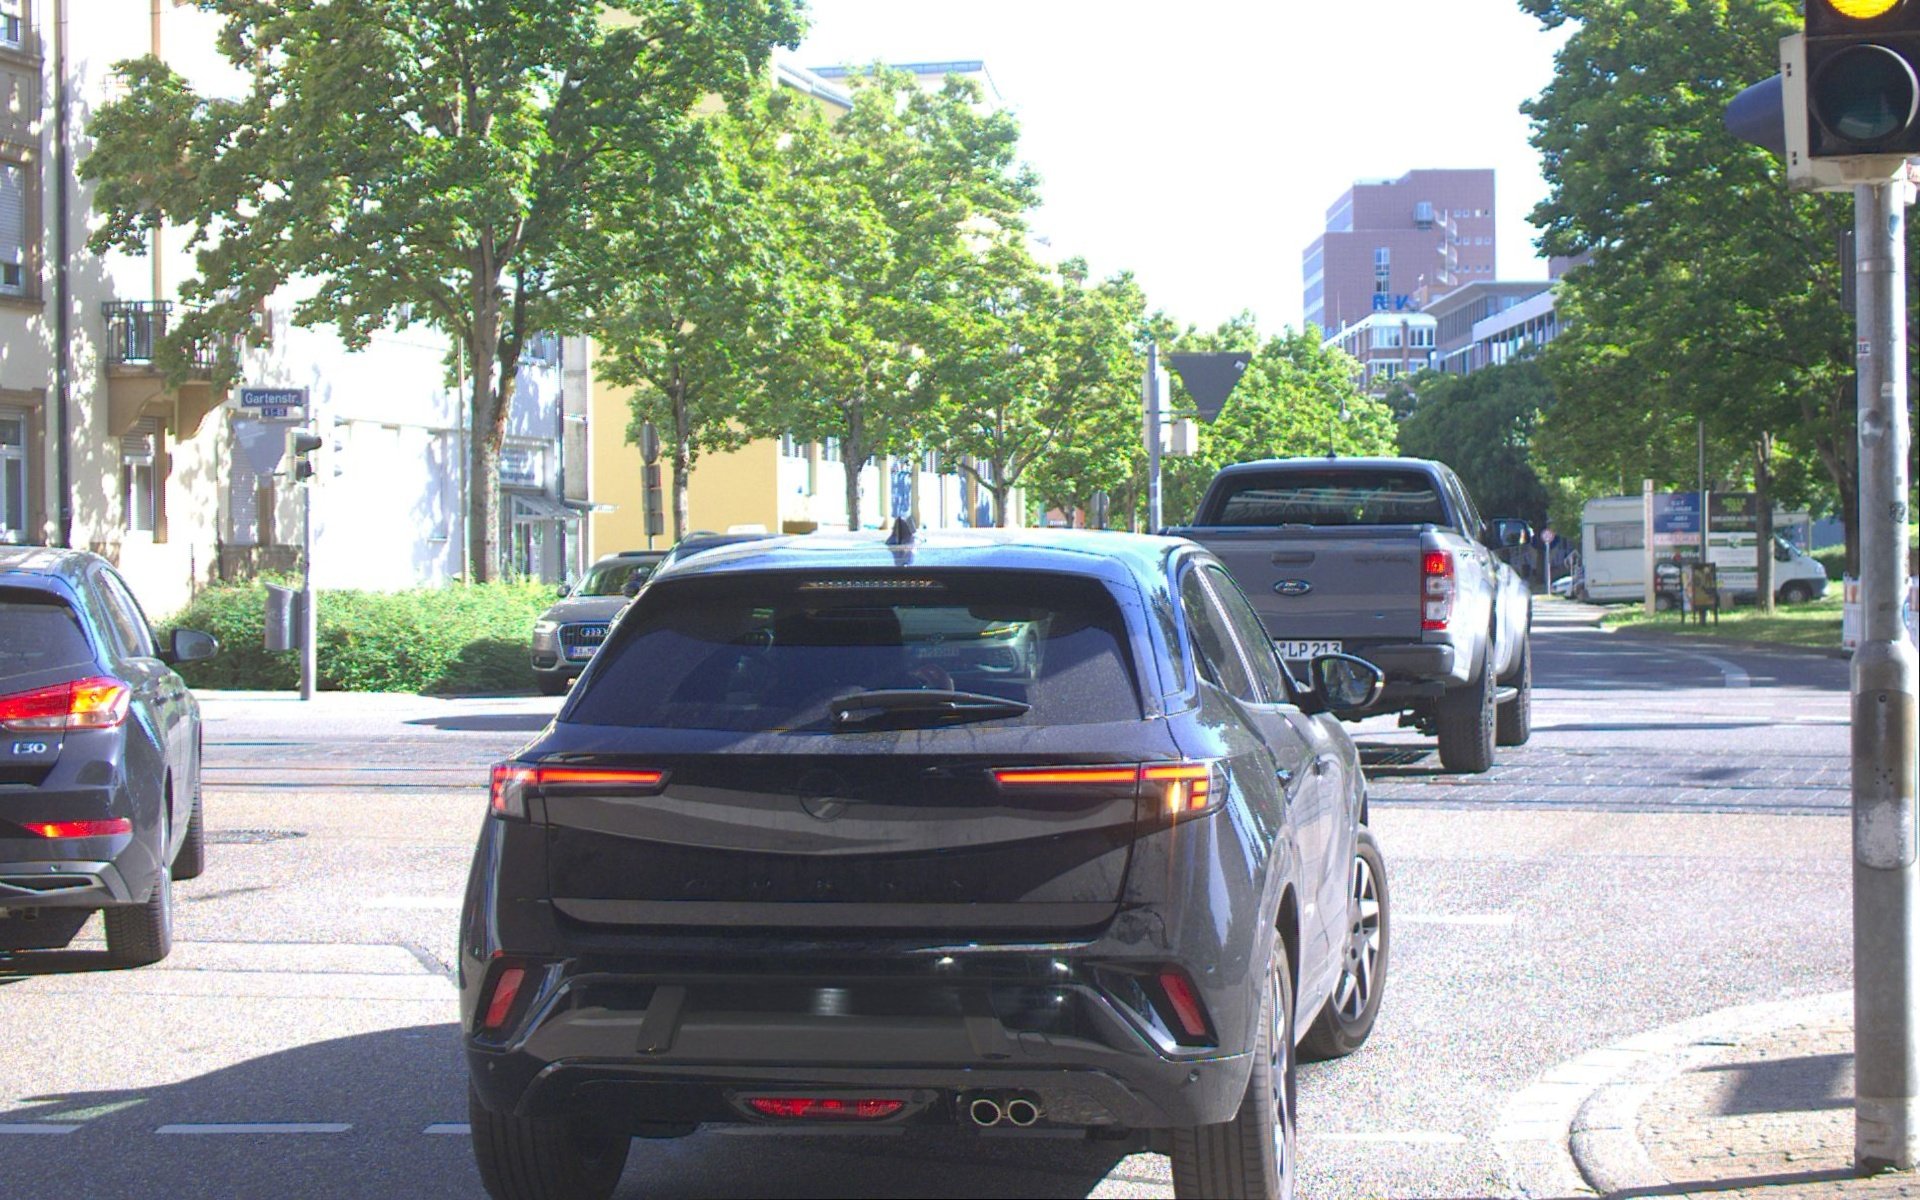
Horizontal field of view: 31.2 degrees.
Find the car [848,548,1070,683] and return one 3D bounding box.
[{"bbox_3d":[0.043,0.148,39.372,1.709,1.447,3.848,-1,1,13],"label":"car"}]

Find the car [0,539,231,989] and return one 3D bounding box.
[{"bbox_3d":[-3.834,0.508,13.259,1.800,1.446,4.327,-1,1,-10],"label":"car"}]

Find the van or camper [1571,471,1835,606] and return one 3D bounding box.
[{"bbox_3d":[18.140,-1.481,84.163,6.081,2.919,2.574,-3,0,11],"label":"van or camper"}]

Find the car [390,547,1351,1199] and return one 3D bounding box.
[{"bbox_3d":[0.015,0.624,8.669,1.782,1.512,3.754,0,1,9],"label":"car"}]

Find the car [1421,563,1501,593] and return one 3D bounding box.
[{"bbox_3d":[26.493,-1.176,181.865,3.947,1.392,1.516,-3,0,3],"label":"car"}]

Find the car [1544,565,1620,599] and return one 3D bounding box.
[{"bbox_3d":[27.331,-0.794,151.097,3.245,1.273,1.516,-3,0,10],"label":"car"}]

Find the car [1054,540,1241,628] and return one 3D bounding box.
[{"bbox_3d":[5.674,-0.498,104.097,5.259,2.537,1.986,-1,0,-14],"label":"car"}]

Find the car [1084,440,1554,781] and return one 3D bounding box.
[{"bbox_3d":[2.346,0.023,21.069,2.134,1.829,4.937,-1,1,15],"label":"car"}]

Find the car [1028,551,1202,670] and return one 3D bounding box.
[{"bbox_3d":[2.190,0.111,47.637,1.706,1.507,3.861,-2,0,13],"label":"car"}]

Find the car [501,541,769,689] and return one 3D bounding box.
[{"bbox_3d":[-3.654,0.134,39.409,1.885,1.604,4.146,0,1,12],"label":"car"}]

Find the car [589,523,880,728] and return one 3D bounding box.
[{"bbox_3d":[-1.729,0.165,27.652,1.788,1.508,4.116,-1,1,4],"label":"car"}]
